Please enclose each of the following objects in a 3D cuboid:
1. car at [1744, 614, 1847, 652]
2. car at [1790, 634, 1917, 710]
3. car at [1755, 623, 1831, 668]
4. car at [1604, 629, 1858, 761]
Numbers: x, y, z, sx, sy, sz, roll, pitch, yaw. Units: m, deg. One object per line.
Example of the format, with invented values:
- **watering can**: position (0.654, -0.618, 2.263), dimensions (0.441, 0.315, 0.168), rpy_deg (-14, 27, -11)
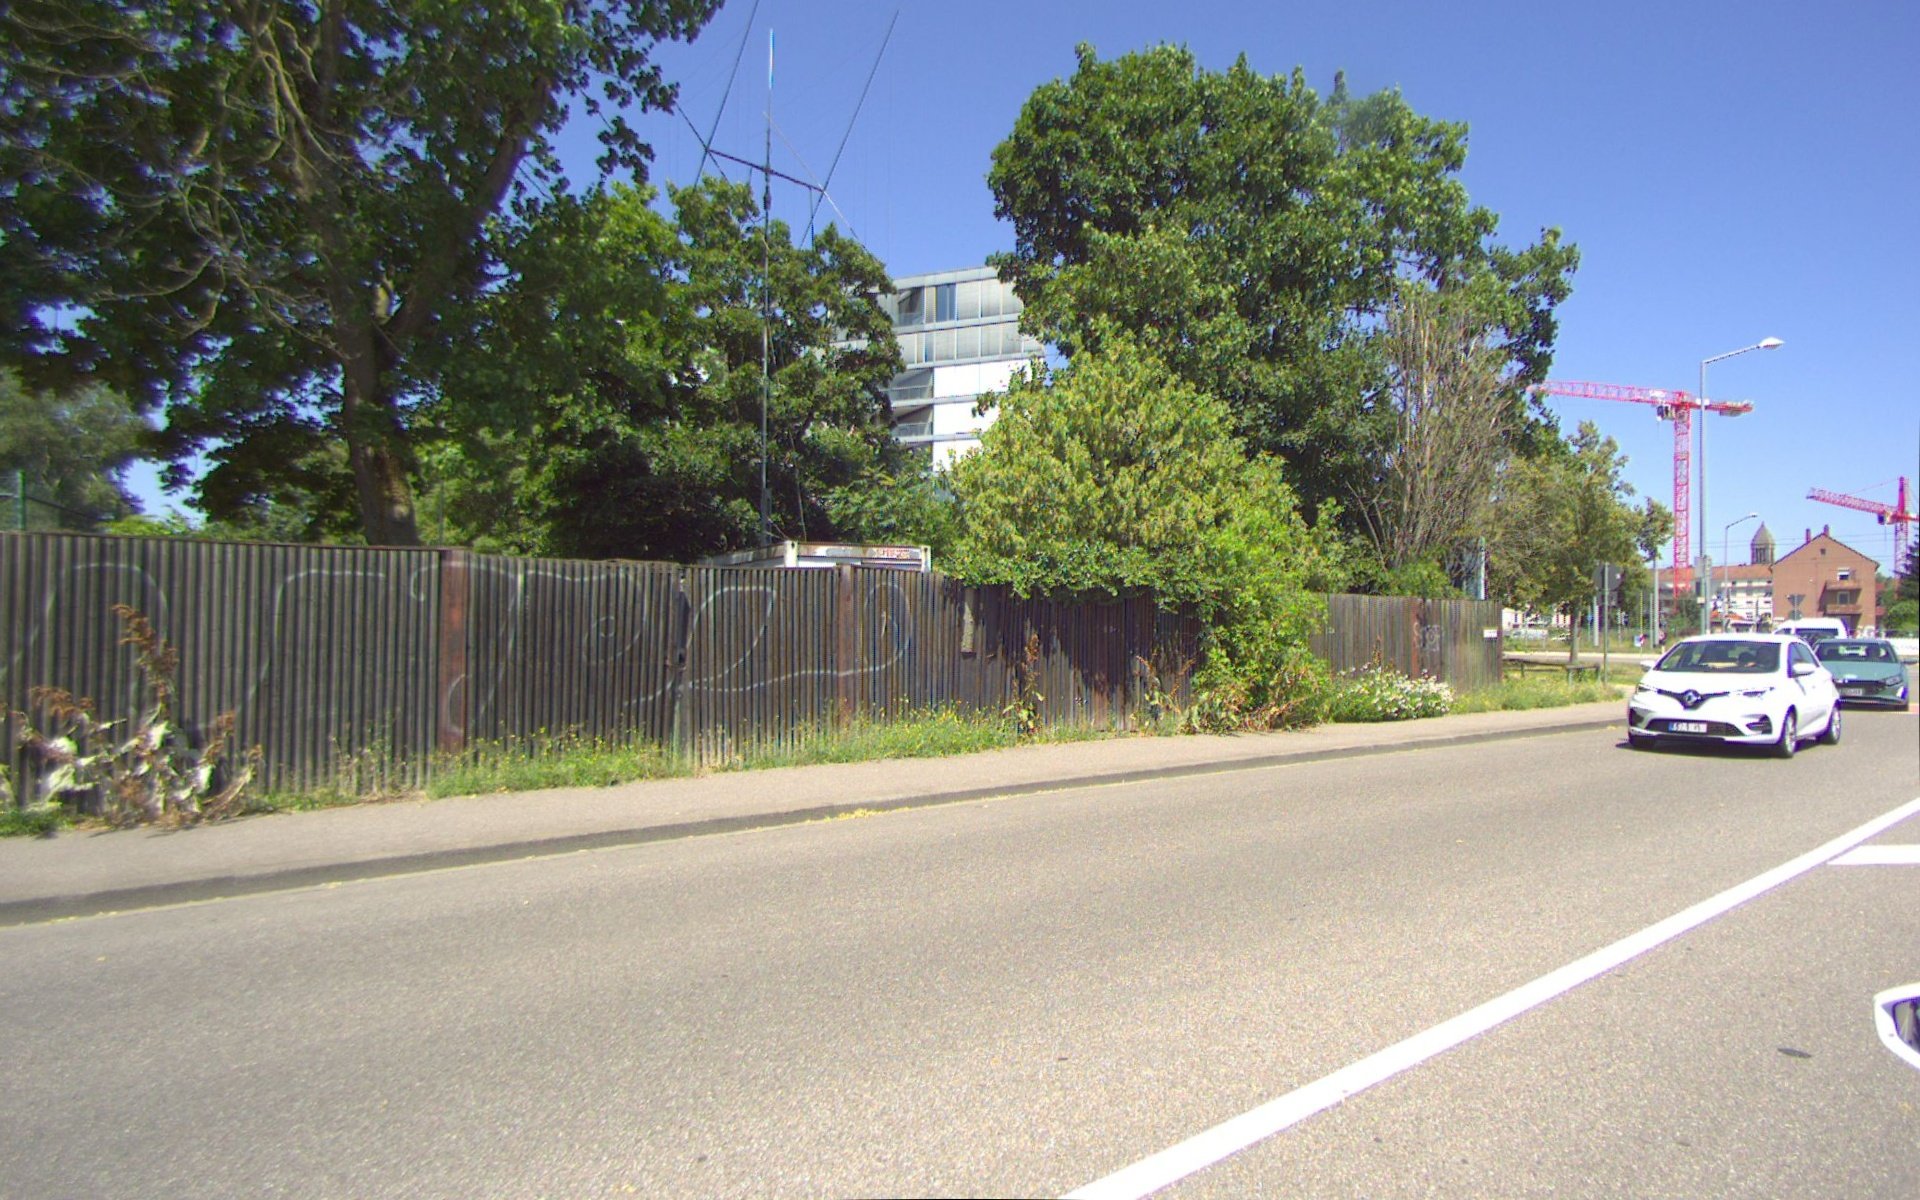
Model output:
- **car**: position (58.353, 2.265, 70.321), dimensions (5.234, 2.429, 1.990), rpy_deg (2, 0, 31)
- **car**: position (19.205, 1.461, 21.525), dimensions (4.302, 1.390, 1.729), rpy_deg (2, 0, -44)
- **car**: position (28.930, 1.538, 34.983), dimensions (1.704, 1.421, 4.257), rpy_deg (2, 0, 36)
- **car**: position (10.599, 1.182, 13.744), dimensions (3.835, 1.547, 1.763), rpy_deg (1, -2, -36)
